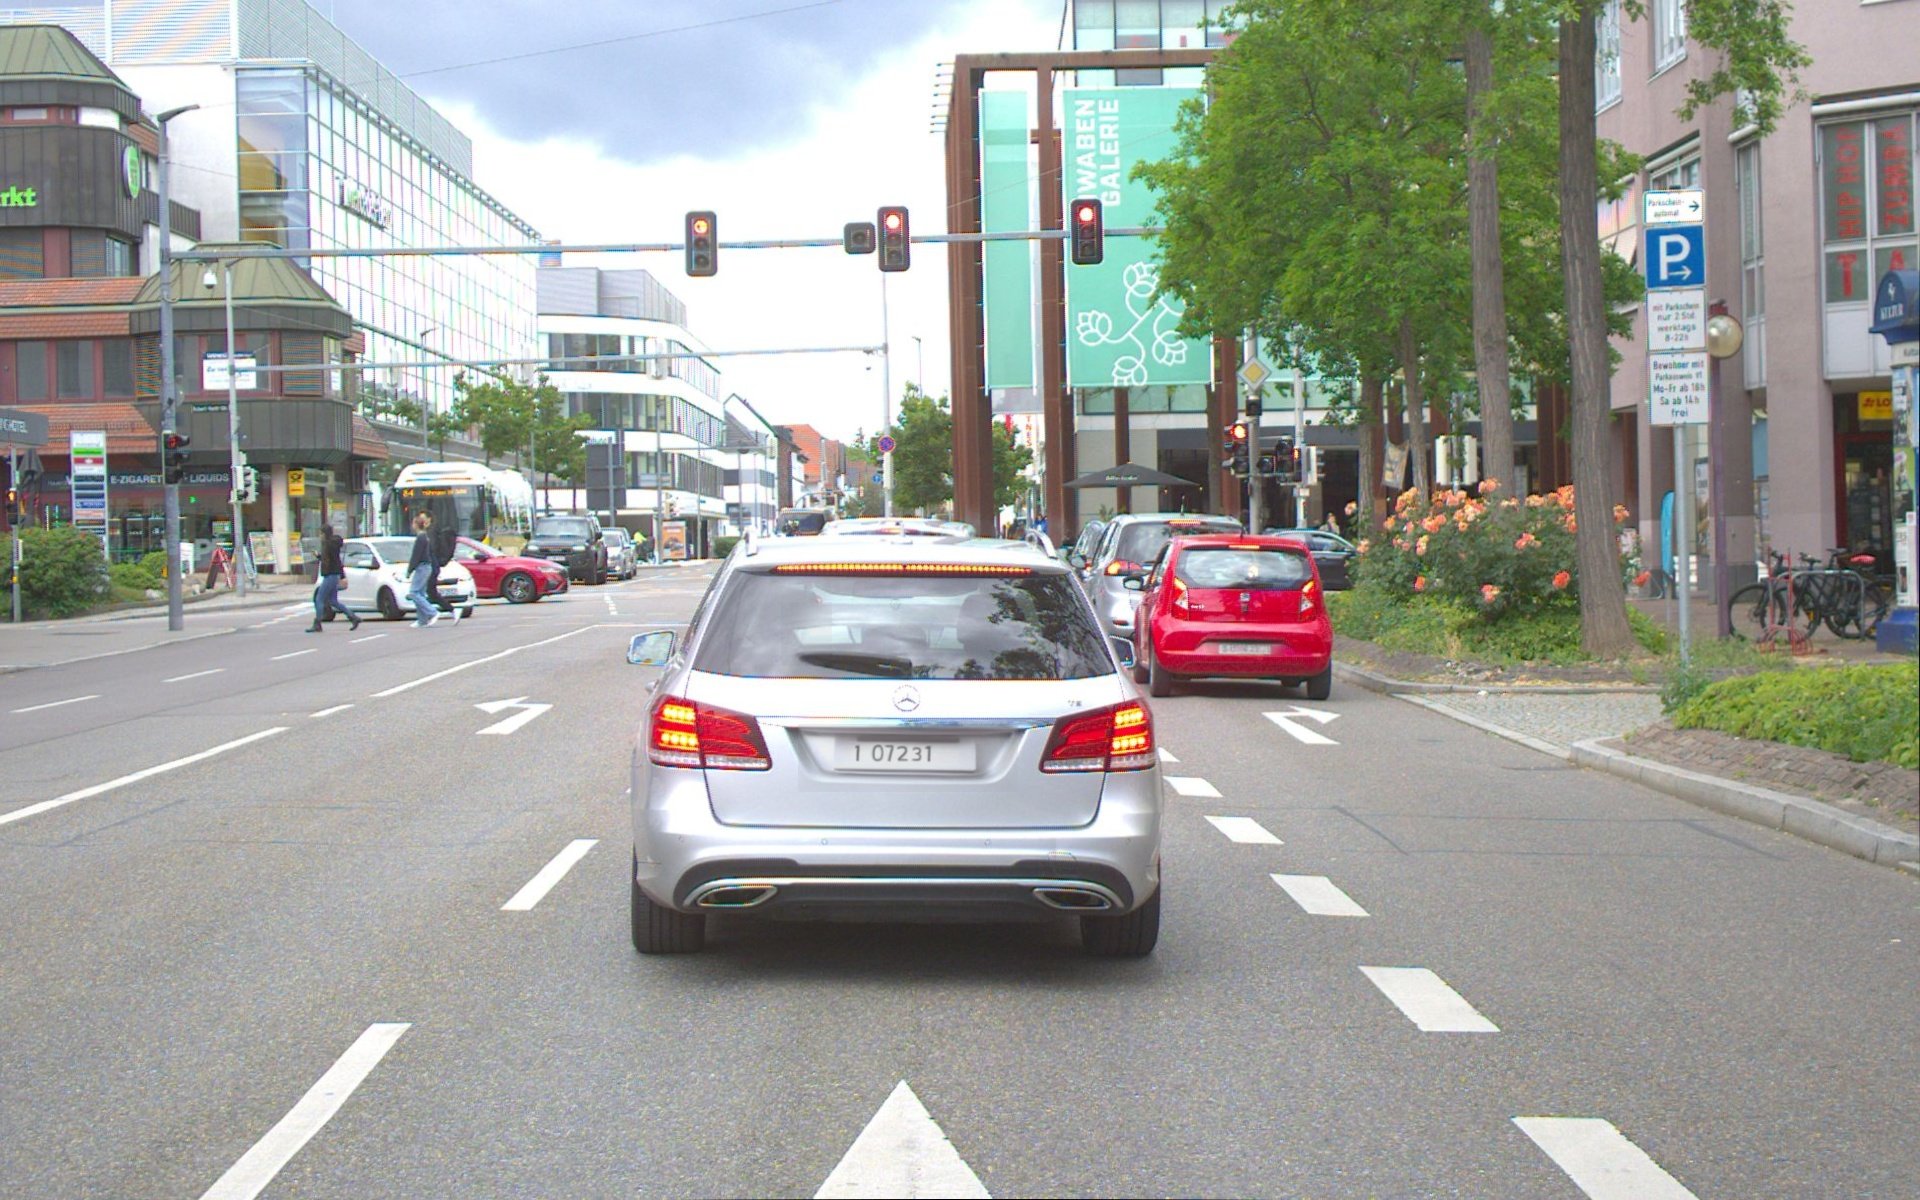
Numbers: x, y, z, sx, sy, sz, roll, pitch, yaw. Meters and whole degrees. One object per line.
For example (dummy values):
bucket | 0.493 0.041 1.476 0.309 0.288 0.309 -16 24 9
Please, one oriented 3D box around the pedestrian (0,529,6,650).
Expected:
pedestrian | -13.176 -0.132 45.756 0.728 1.604 0.753 -1 1 0

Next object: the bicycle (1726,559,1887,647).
bicycle | 9.914 0.032 40.274 1.769 0.994 0.447 -1 1 4

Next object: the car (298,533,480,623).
car | -9.998 -0.384 60.026 1.574 1.483 3.463 -3 2 -39

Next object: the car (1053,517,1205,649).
car | 2.130 -0.251 44.134 1.586 1.589 3.869 1 1 -2

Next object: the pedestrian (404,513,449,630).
pedestrian | -8.229 -0.444 53.002 0.646 1.784 0.684 -1 1 -10

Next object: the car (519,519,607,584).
car | -10.646 -1.314 92.365 1.993 1.700 4.065 -1 1 -2

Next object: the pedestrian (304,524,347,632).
pedestrian | -9.789 -0.342 53.034 0.557 1.645 0.654 -1 1 -17

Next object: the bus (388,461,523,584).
bus | -13.885 -2.144 95.228 2.686 3.250 8.654 -1 1 -2

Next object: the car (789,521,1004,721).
car | -0.513 0.125 28.113 1.640 1.522 3.394 0 1 -1

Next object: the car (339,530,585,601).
car | -10.163 -0.714 70.330 4.715 1.365 1.964 -1 1 1

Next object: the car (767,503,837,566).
car | -4.990 -2.081 109.139 1.993 1.942 4.951 0 1 0

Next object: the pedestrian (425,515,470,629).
pedestrian | -8.029 -0.443 53.889 0.644 1.769 0.570 -1 1 -11

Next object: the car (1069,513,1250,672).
car | 2.142 -0.119 37.814 1.586 1.628 3.917 1 1 -2

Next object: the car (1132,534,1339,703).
car | 2.500 0.131 31.779 1.586 1.438 3.348 1 1 -1

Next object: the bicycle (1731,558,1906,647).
bicycle | 9.911 0.023 39.727 1.901 0.994 0.468 -1 1 4

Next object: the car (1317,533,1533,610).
car | 9.514 -0.589 70.593 4.187 1.525 1.790 0 1 0

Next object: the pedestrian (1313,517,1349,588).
pedestrian | 8.674 -1.110 80.429 0.651 1.645 0.559 -1 1 -15

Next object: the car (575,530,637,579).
car | -10.280 -1.344 100.081 1.555 1.387 3.288 -1 1 -2

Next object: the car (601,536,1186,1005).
car | -0.227 0.501 13.024 1.815 1.443 4.370 1 1 0
